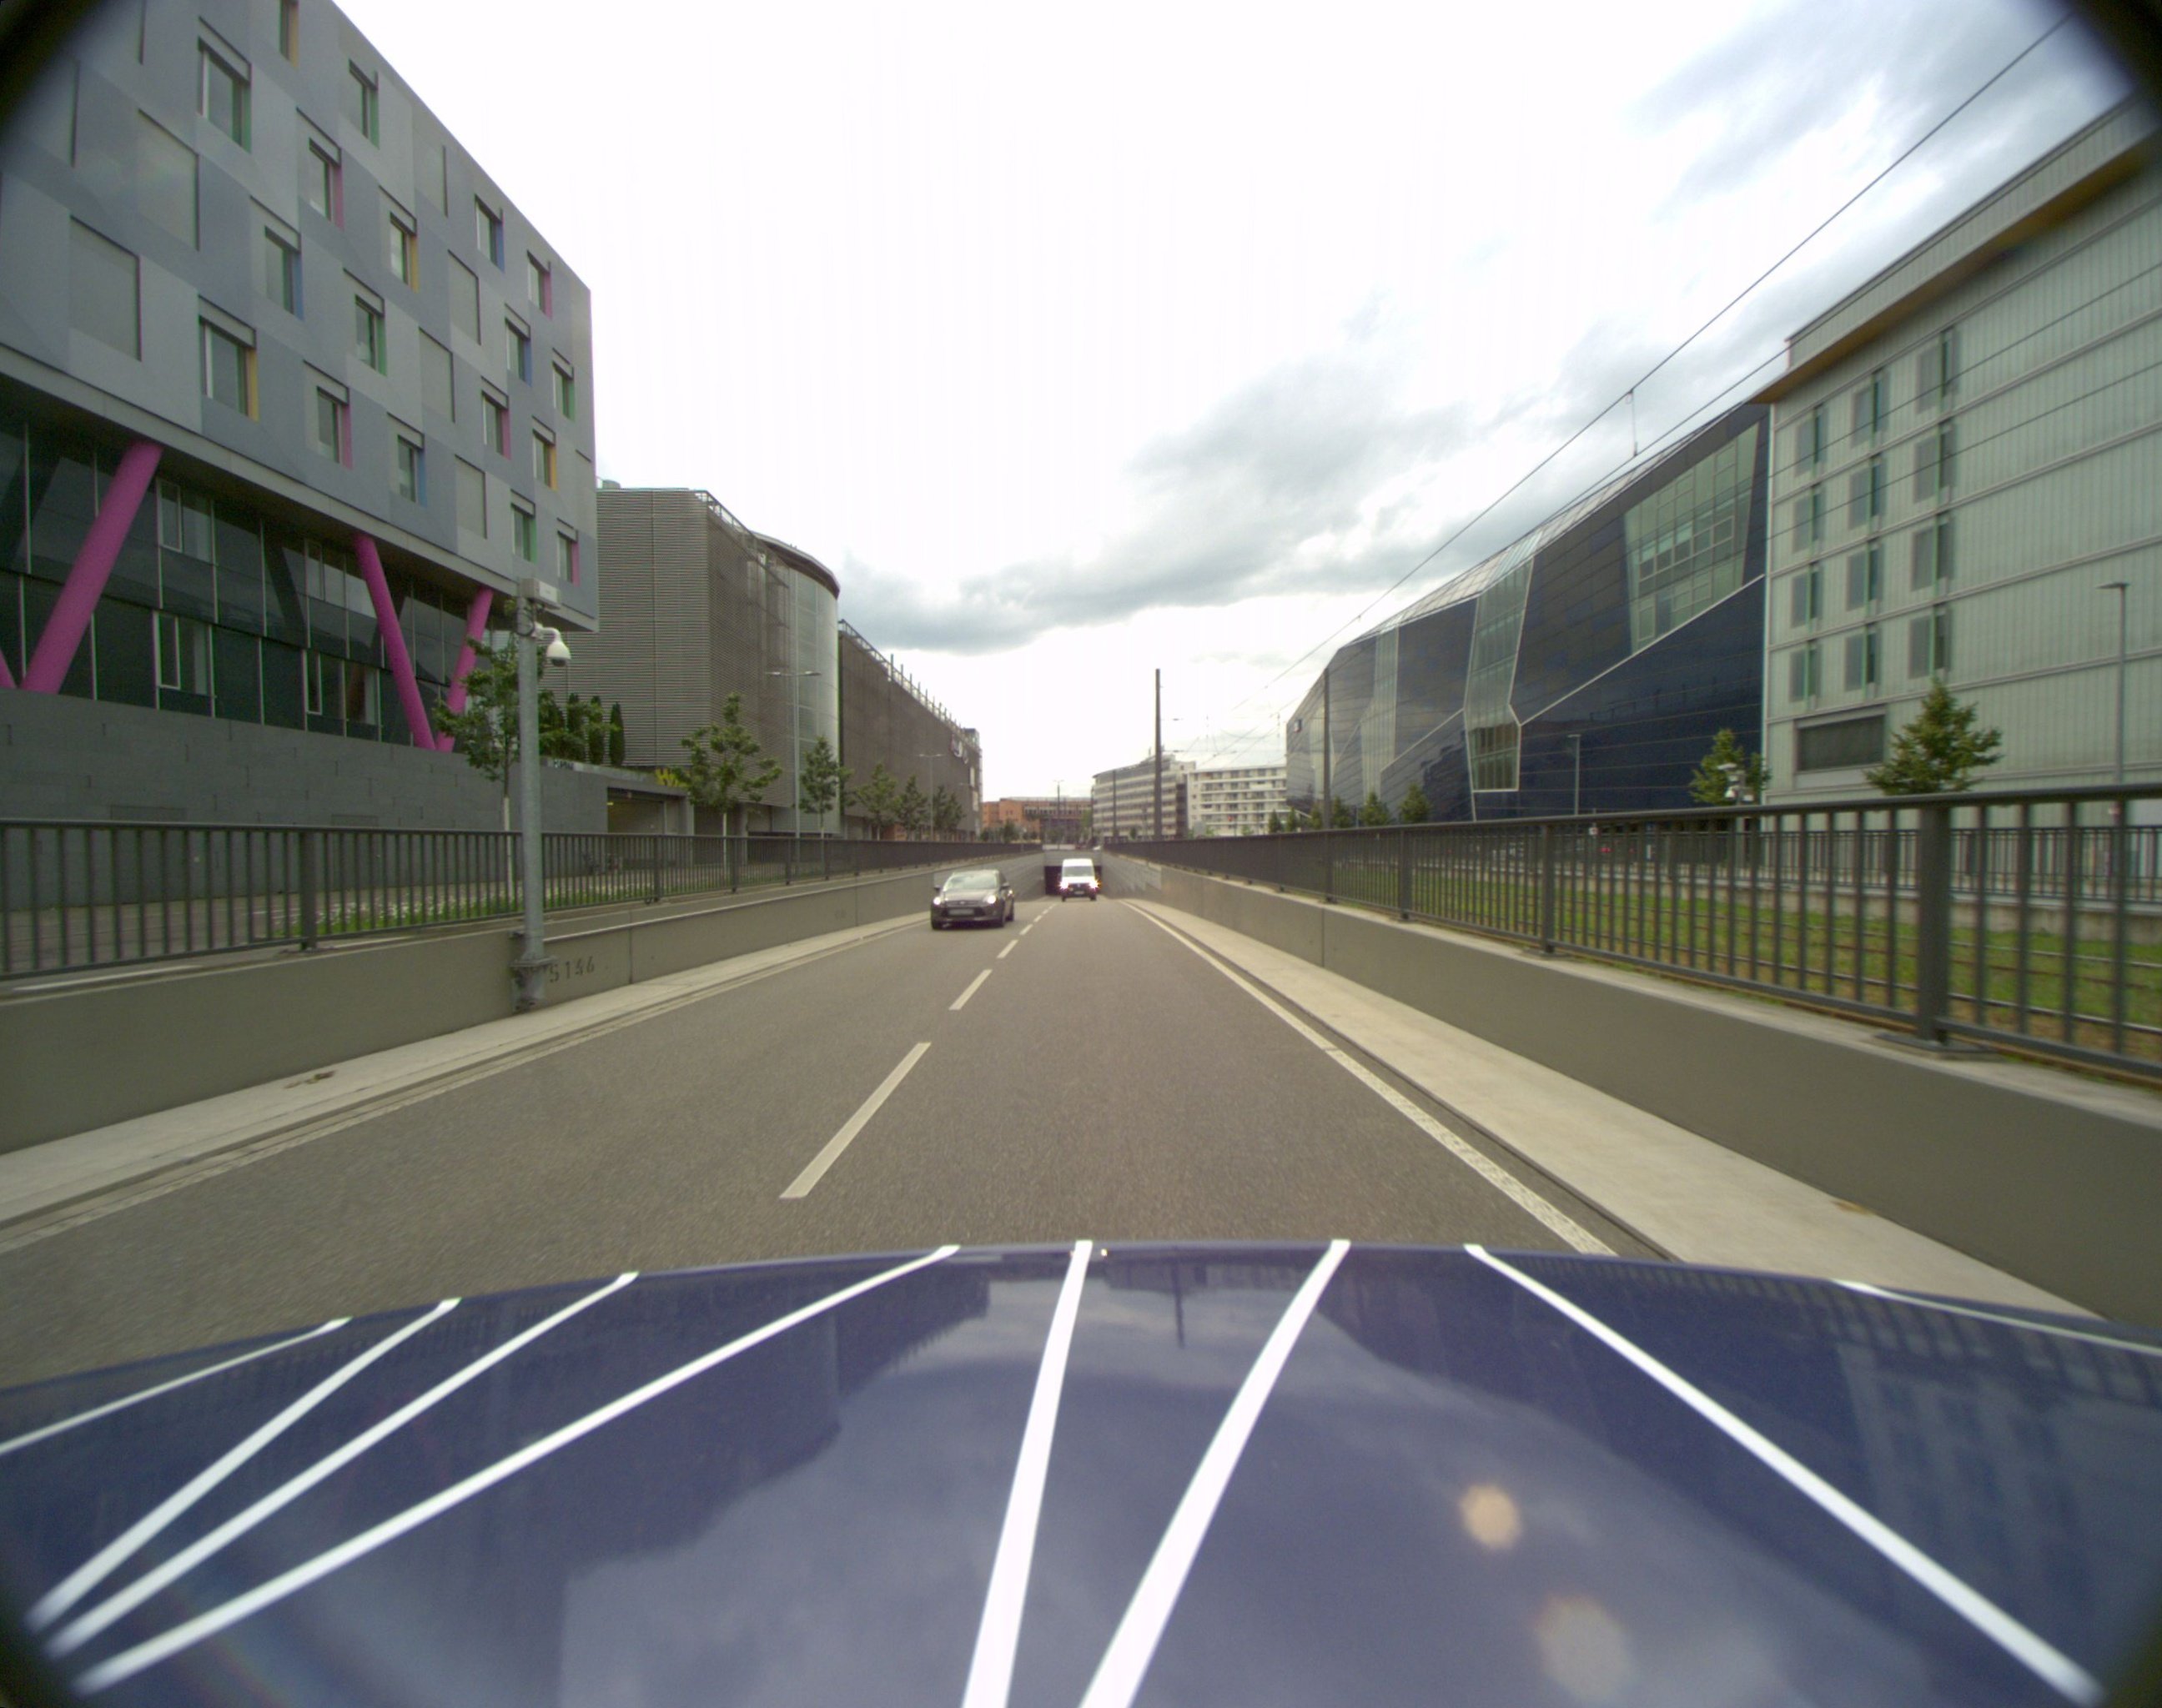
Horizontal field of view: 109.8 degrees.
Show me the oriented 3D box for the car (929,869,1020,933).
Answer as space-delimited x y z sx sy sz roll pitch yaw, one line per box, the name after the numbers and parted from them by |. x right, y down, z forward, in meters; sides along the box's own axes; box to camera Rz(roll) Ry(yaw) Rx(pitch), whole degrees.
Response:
-2.725 1.181 20.273 1.752 1.490 4.270 -1 -2 1 | car

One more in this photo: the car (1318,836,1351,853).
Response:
26.015 -0.991 78.084 1.998 1.583 4.768 -1 -1 3 | car

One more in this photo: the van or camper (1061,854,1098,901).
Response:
-0.065 1.459 45.447 2.043 2.570 5.044 -1 -4 0 | van or camper

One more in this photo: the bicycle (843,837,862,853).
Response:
-18.289 -0.689 60.785 0.801 1.151 2.346 -1 -3 0 | bicycle

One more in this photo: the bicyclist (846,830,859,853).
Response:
-18.292 -1.018 60.868 0.784 1.791 0.705 -1 -3 0 | bicyclist

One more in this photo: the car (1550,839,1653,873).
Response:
25.870 0.123 38.006 1.998 1.583 4.768 -1 -1 2 | car
